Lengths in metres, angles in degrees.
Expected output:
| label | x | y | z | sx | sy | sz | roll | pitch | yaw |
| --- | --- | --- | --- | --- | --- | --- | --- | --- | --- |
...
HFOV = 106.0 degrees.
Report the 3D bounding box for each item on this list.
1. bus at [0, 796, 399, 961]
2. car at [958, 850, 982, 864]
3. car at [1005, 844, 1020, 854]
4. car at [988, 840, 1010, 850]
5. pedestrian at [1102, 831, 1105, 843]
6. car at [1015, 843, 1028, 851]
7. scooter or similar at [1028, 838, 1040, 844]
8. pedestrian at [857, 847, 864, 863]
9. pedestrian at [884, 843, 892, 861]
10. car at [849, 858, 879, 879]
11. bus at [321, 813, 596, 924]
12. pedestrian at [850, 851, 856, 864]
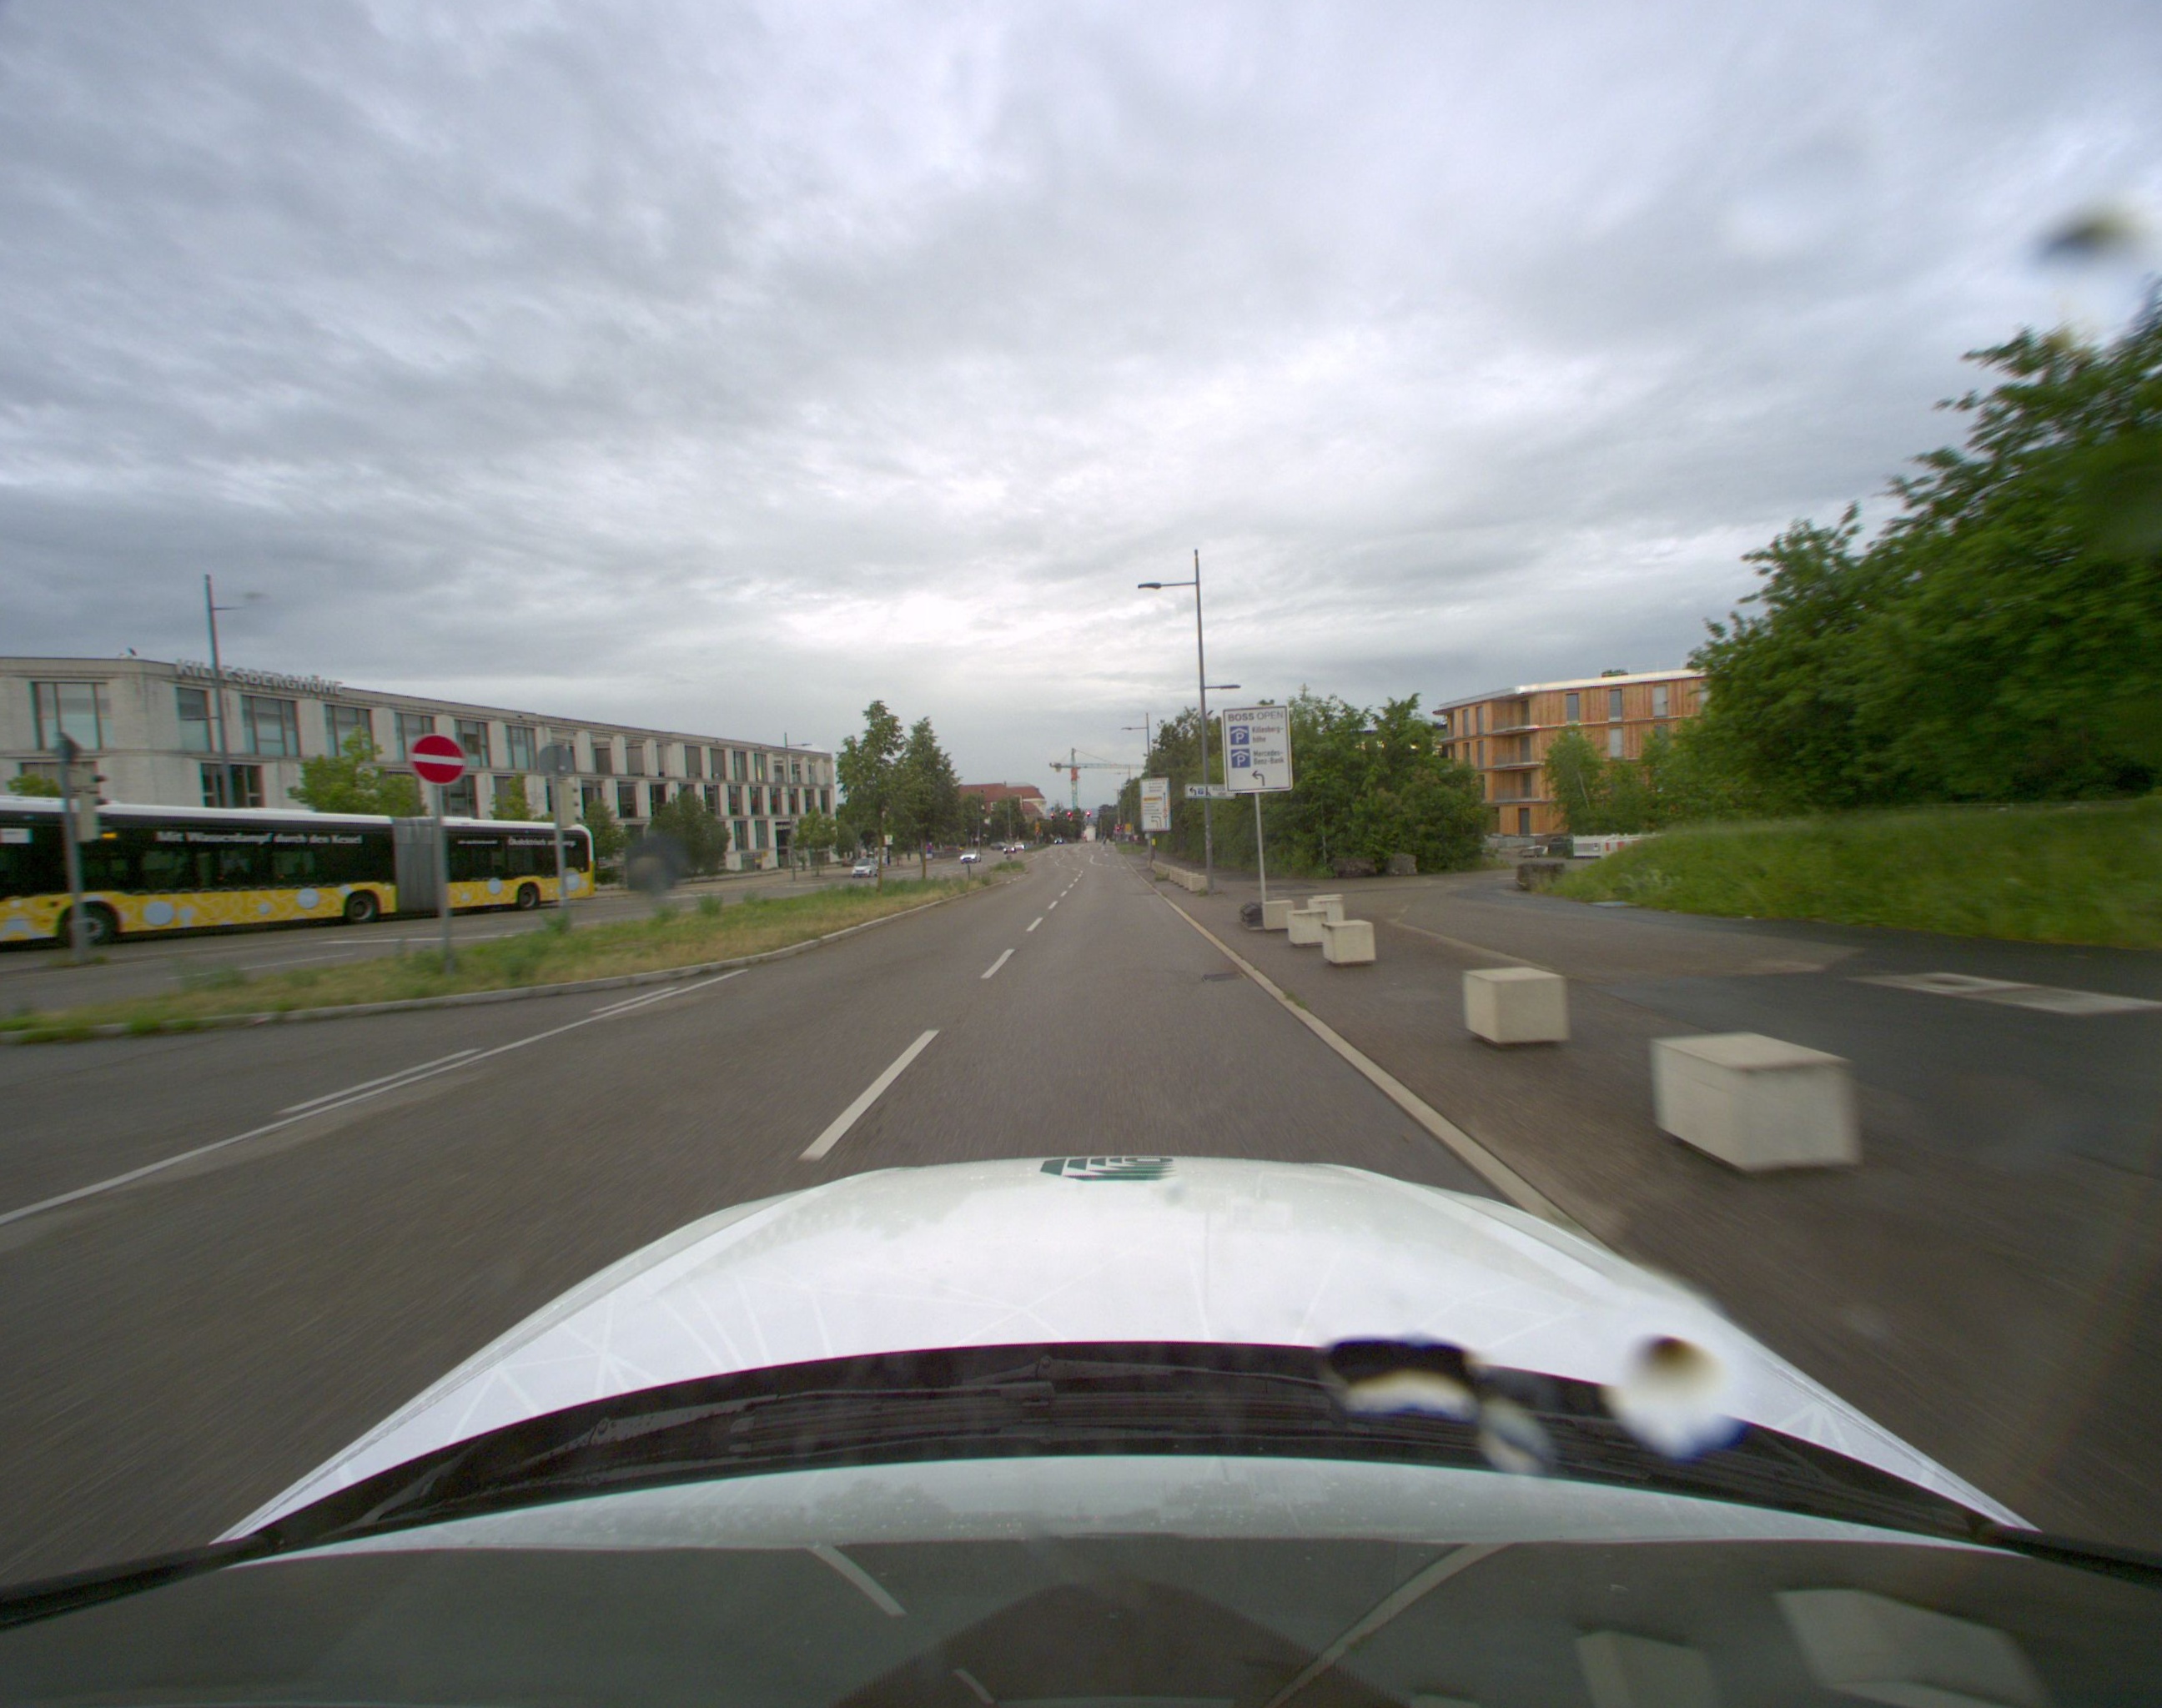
| label | x | y | z | sx | sy | sz | roll | pitch | yaw |
| --- | --- | --- | --- | --- | --- | --- | --- | --- | --- |
| bus | -23.526 | 0.512 | 20.728 | 2.805 | 3.472 | 9.999 | -1 | 0 | 9 |
| car | -12.978 | 0.371 | 95.586 | 1.986 | 1.418 | 4.515 | -2 | 1 | 2 |
| car | -10.806 | -0.802 | 129.220 | 1.840 | 1.462 | 3.869 | -4 | 1 | 2 |
| car | -16.171 | -1.847 | 160.828 | 3.948 | 1.878 | 2.013 | -1 | 0 | 38 |
| pedestrian | 4.008 | -3.044 | 145.749 | 0.398 | 2.013 | 0.515 | -6 | 2 | 7 |
| car | -10.833 | -1.292 | 149.029 | 1.866 | 1.429 | 4.178 | -5 | 1 | 2 |
| scooter or similar | -11.891 | -3.306 | 206.409 | 3.078 | 1.440 | 0.949 | -3 | 2 | -1 |
| pedestrian | -24.935 | 0.078 | 92.087 | 0.522 | 1.725 | 0.567 | -3 | 1 | 4 |
| pedestrian | -20.366 | -0.192 | 85.937 | 0.505 | 1.842 | 0.756 | -3 | 1 | 1 |
| car | -17.947 | 1.183 | 67.403 | 1.608 | 1.508 | 2.974 | -2 | 1 | 1 |
| bus | -22.108 | 0.431 | 29.773 | 2.805 | 3.472 | 8.252 | -1 | 0 | 9 |
| pedestrian | -25.895 | 0.350 | 92.642 | 0.424 | 1.451 | 0.510 | -3 | 1 | 2 |
